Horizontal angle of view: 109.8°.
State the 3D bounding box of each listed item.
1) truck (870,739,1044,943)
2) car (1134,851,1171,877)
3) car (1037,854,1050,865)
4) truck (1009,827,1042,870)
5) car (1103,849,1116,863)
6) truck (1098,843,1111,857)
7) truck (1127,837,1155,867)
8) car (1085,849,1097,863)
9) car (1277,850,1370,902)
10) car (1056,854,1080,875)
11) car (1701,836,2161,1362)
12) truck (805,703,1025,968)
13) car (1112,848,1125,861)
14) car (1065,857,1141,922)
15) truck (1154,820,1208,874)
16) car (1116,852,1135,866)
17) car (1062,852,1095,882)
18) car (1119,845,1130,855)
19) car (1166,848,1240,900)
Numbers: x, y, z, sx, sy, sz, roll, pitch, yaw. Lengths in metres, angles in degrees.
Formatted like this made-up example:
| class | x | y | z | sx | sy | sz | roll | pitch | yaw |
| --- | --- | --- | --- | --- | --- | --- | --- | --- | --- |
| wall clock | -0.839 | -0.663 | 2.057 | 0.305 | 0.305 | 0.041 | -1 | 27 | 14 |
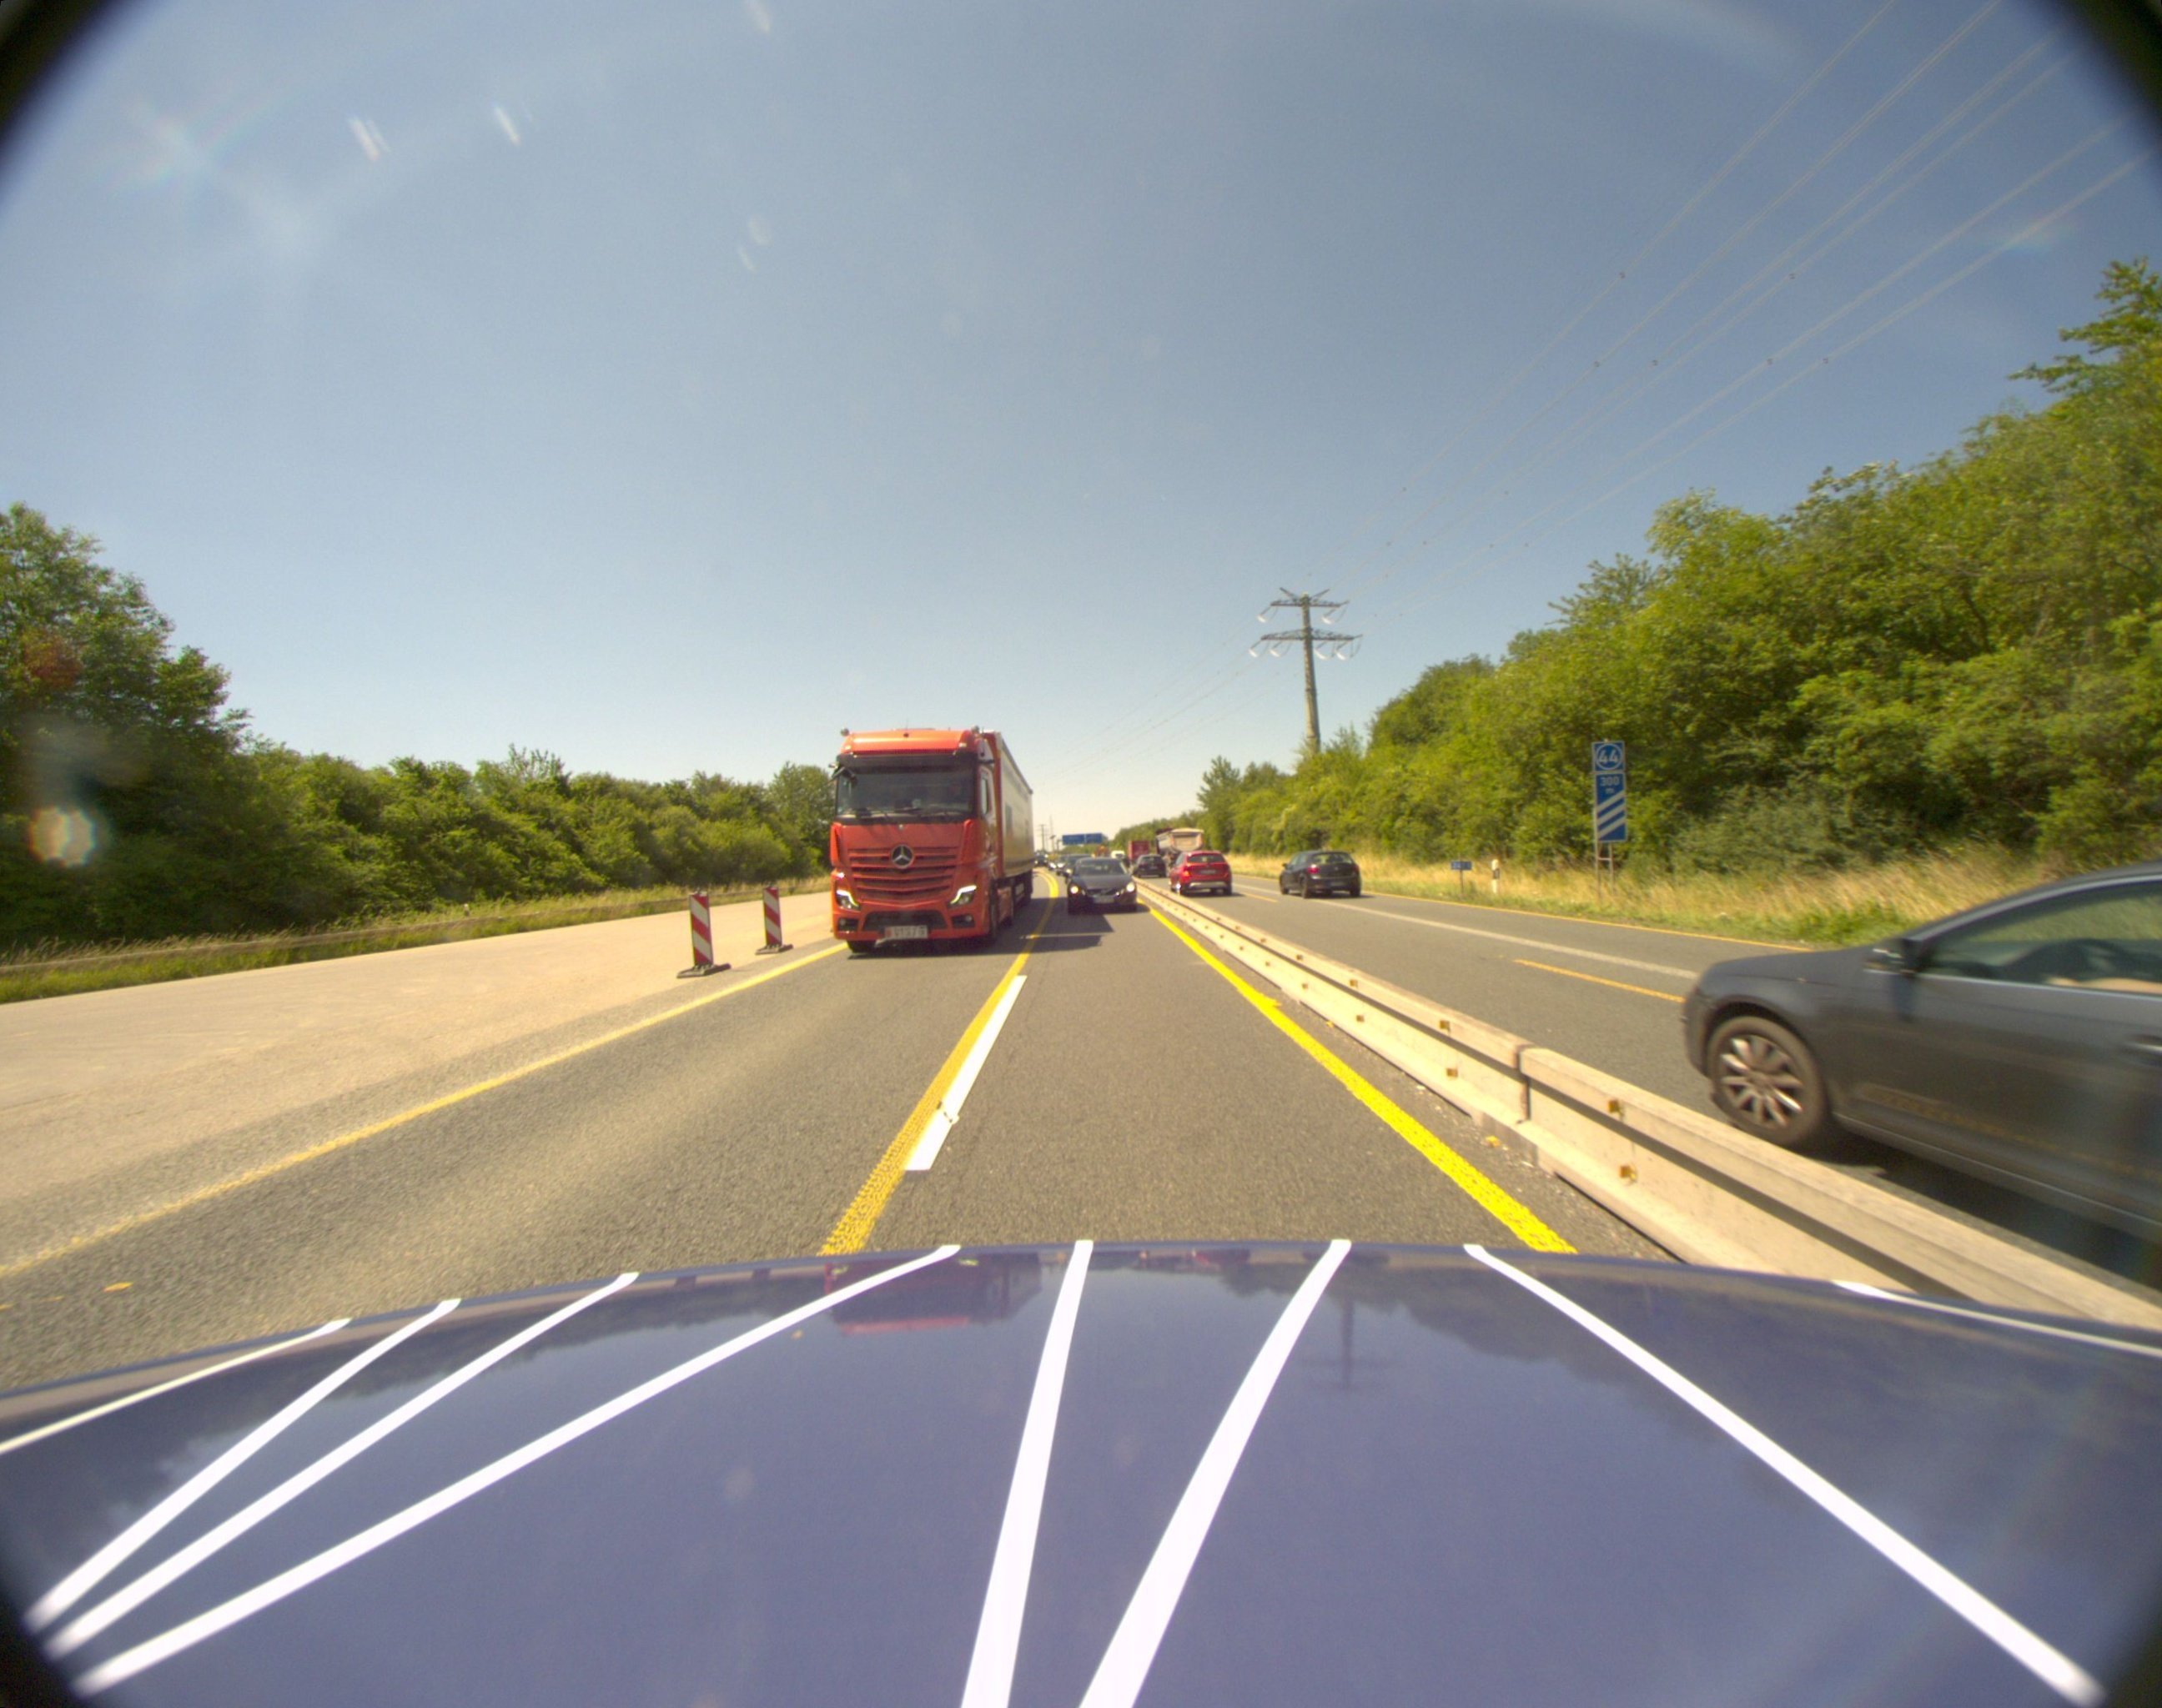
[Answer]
| class | x | y | z | sx | sy | sz | roll | pitch | yaw |
| --- | --- | --- | --- | --- | --- | --- | --- | --- | --- |
| truck | -2.810 | -0.338 | 21.873 | 2.689 | 3.987 | 13.216 | -2 | 1 | 0 |
| car | 4.414 | 0.586 | 47.536 | 1.855 | 1.413 | 4.348 | -2 | 1 | 0 |
| car | -5.474 | 0.819 | 111.677 | 1.767 | 1.523 | 4.697 | -2 | 1 | -2 |
| truck | -5.627 | -0.514 | 78.976 | 2.481 | 4.030 | 13.109 | -2 | 0 | 0 |
| car | 4.419 | 0.339 | 119.324 | 1.855 | 2.044 | 4.348 | -2 | 1 | 0 |
| truck | 5.881 | -1.010 | 191.309 | 2.810 | 3.317 | 11.377 | -4 | 0 | 0 |
| truck | 8.227 | -0.330 | 105.637 | 2.810 | 3.754 | 11.377 | -4 | 0 | 0 |
| car | 1.540 | 0.326 | 119.869 | 1.855 | 2.044 | 4.348 | -2 | 1 | 0 |
| car | 7.401 | 0.612 | 23.531 | 1.685 | 1.413 | 3.642 | -2 | 1 | 0 |
| car | -1.071 | 0.788 | 61.673 | 1.767 | 1.523 | 4.698 | -2 | 1 | -1 |
| car | 4.130 | 0.729 | 1.769 | 1.904 | 1.507 | 4.276 | -2 | 1 | 1 |
| truck | -2.800 | -0.319 | 15.078 | 2.689 | 3.987 | 6.724 | -2 | 1 | 0 |
| car | 6.403 | 0.022 | 129.965 | 1.855 | 2.044 | 4.348 | -2 | 1 | 0 |
| car | 0.557 | 0.847 | 20.486 | 1.767 | 1.411 | 4.698 | -2 | 1 | 1 |
| truck | 7.832 | -0.535 | 61.191 | 2.943 | 3.754 | 11.378 | -4 | 0 | 1 |
| car | 4.981 | 0.574 | 85.181 | 1.855 | 1.413 | 4.348 | -2 | 1 | 0 |
| car | -0.113 | 0.720 | 44.463 | 1.767 | 1.523 | 4.698 | -2 | 1 | 1 |
| car | 12.553 | -1.095 | 218.833 | 2.810 | 2.735 | 6.800 | -4 | 0 | 0 |
| car | 4.196 | 0.632 | 26.749 | 1.904 | 1.580 | 4.276 | -2 | 1 | 1 |
